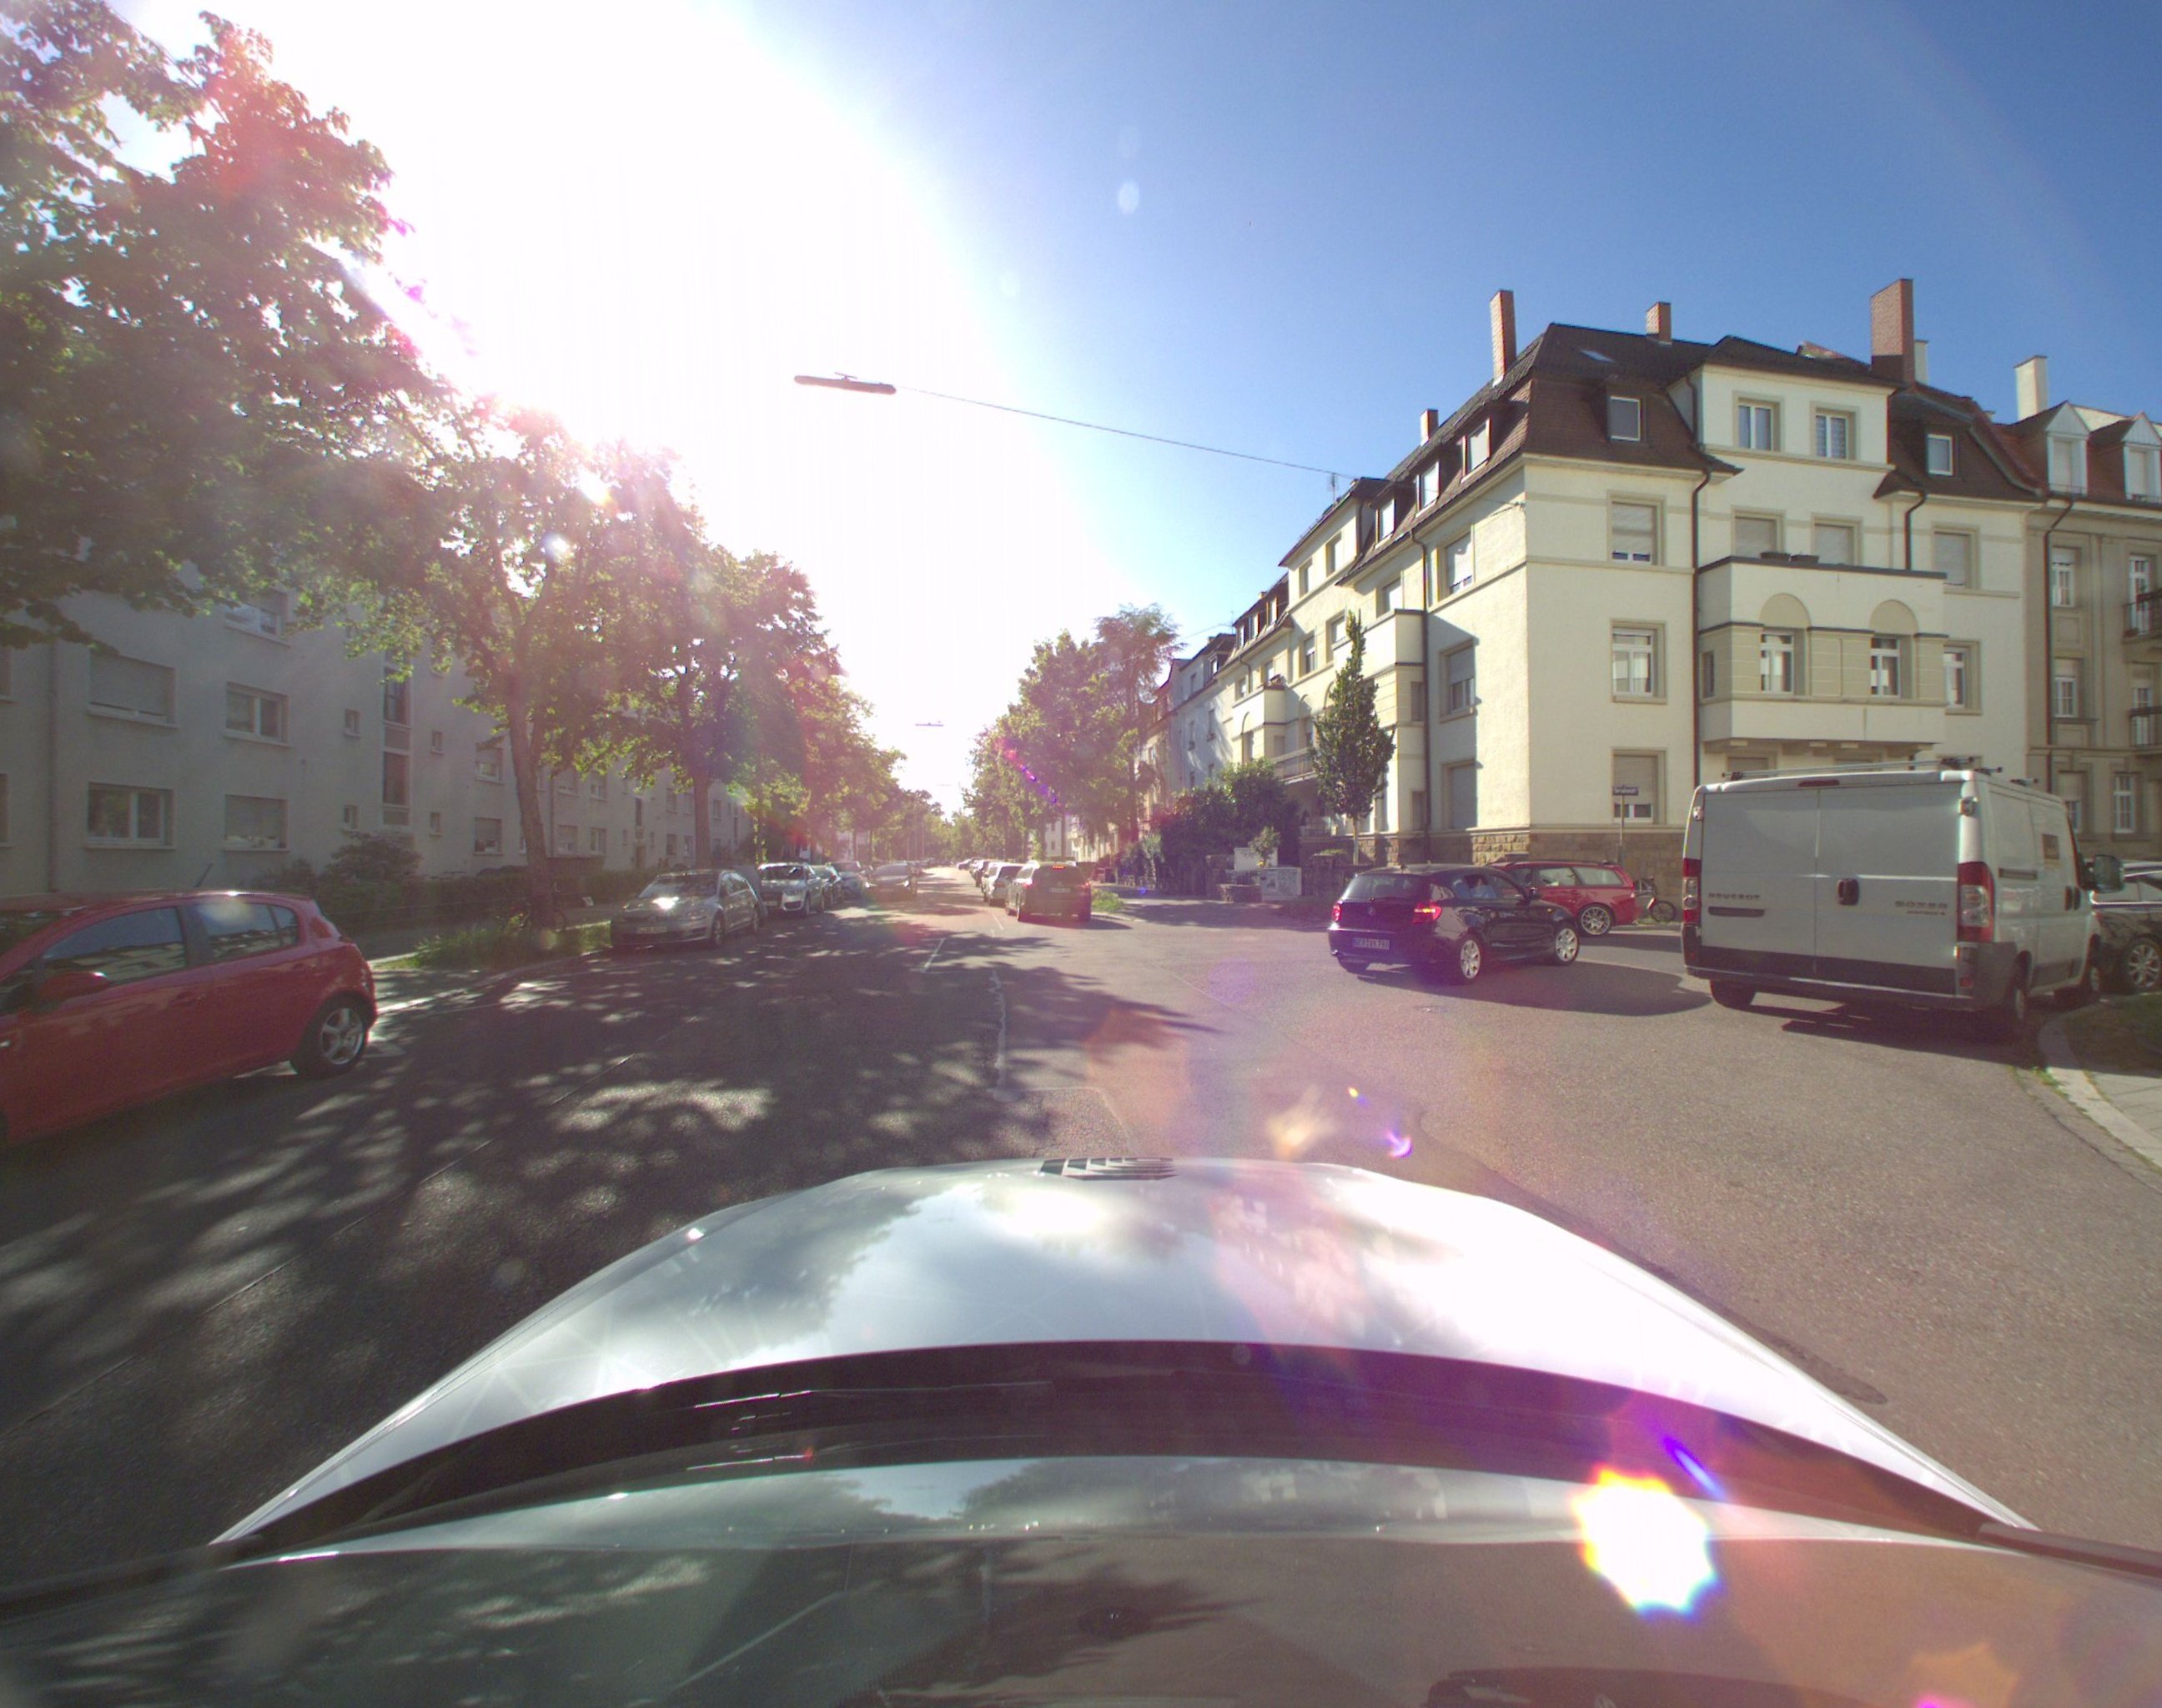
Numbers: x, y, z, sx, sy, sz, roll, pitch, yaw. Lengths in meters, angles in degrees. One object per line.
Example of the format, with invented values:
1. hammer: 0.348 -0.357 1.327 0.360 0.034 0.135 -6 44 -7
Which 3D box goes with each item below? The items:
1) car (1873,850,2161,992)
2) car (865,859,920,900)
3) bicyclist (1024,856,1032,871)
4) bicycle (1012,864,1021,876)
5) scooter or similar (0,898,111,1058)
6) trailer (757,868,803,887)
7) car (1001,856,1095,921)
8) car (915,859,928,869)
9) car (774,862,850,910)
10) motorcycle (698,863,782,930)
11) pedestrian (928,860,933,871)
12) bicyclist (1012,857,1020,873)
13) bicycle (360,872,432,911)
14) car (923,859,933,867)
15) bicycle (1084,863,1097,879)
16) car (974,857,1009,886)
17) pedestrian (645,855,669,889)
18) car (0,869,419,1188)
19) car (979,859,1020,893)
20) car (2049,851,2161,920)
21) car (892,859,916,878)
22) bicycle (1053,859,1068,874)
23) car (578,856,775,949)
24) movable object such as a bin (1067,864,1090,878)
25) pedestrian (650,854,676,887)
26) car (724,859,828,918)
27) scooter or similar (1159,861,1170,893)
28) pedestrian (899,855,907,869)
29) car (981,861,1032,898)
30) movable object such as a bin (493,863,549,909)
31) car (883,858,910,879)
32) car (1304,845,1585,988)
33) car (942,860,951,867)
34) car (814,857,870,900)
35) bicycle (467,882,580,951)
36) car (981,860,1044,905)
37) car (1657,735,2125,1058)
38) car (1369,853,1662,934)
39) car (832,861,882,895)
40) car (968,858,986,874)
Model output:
1. car: 13.020 0.705 10.174 4.929 1.469 2.040 -1 0 -11
2. car: -7.478 0.972 32.602 1.809 1.445 4.352 -2 0 -10
3. bicyclist: -5.493 0.964 84.316 0.676 1.553 1.017 -1 -1 -12
4. bicycle: -6.733 1.631 84.621 0.684 1.153 2.393 -1 0 -12
5. scooter or similar: -8.866 1.000 6.382 0.550 1.235 1.522 -1 0 21
6. trailer: -17.960 1.372 48.731 1.787 1.034 3.273 0 0 -7
7. car: -1.013 0.855 21.687 1.895 1.524 4.950 0 -1 -10
8. car: -27.614 1.768 140.768 1.993 1.671 3.988 -1 0 -8
9. car: -9.414 1.063 28.828 1.728 1.447 4.805 -3 0 -9
10. motorcycle: -8.293 0.994 19.756 2.205 1.503 0.996 -2 0 41
11. pedestrian: -26.491 2.001 143.022 0.717 1.900 0.831 -1 0 -18
12. bicyclist: -6.758 1.114 84.670 0.677 1.609 0.918 -1 -1 -12
13. bicycle: -19.787 1.074 23.574 0.787 1.041 1.927 -1 0 -13
14. car: -33.250 2.006 177.298 1.993 1.585 3.988 -1 0 -8
15. bicycle: 0.591 1.079 51.643 0.580 0.975 1.899 -1 0 -7
16. car: -5.446 1.016 49.330 1.924 1.652 5.082 1 0 -7
17. pedestrian: -23.764 0.994 45.636 0.774 1.913 0.882 -1 -1 18
18. car: -6.181 0.866 4.624 1.855 1.469 4.170 -1 0 -8
19. car: -4.039 1.042 39.880 1.654 1.532 3.956 2 -1 -10
20. car: 25.341 0.682 18.621 4.925 1.469 1.822 0 -1 -9
21. car: -15.870 1.280 73.073 1.709 1.544 3.919 -3 0 -8
22. bicycle: -1.697 1.037 67.308 0.839 1.257 2.222 0 -1 -12
23. car: -7.638 0.820 15.969 2.041 1.524 4.594 -1 0 -8
24. movable object such as a bin: -0.176 1.166 55.062 1.213 0.905 1.670 -1 0 12
25. pedestrian: -24.001 0.929 46.758 0.930 1.888 1.025 -1 -1 0
26. car: -8.720 0.914 23.705 2.065 1.524 4.703 -1 0 -11
27. scooter or similar: 3.221 0.872 31.353 0.399 1.185 1.208 -1 0 7
28. pedestrian: -25.971 1.107 118.672 0.856 2.014 0.981 -1 0 0
29. car: -3.196 1.038 34.233 1.711 1.410 4.845 1 -1 -10
30. movable object such as a bin: -16.582 0.924 24.160 0.931 1.324 1.372 -1 0 -14
31. car: -15.150 1.193 67.059 1.811 1.596 4.220 -1 0 -9
32. car: 4.942 0.680 10.854 4.020 1.523 1.768 -1 0 -39
33. car: -29.662 2.108 179.331 1.785 1.609 3.982 -1 0 -13
34. car: -10.283 1.003 35.317 1.728 1.618 4.352 -4 0 -9
35. bicycle: -9.756 1.059 14.364 0.529 1.015 2.088 6 -1 -3
36. car: -2.549 0.955 29.299 1.821 1.469 4.892 1 -1 -10
37. car: 8.180 0.284 8.108 5.074 2.306 2.212 -1 0 -32
38. car: 8.330 0.756 16.020 4.695 1.469 1.956 -1 -1 5
39. car: -11.089 1.161 40.580 1.727 1.477 4.606 -4 0 -8
40. car: -12.653 1.450 98.961 1.970 1.949 4.969 0 0 -9
